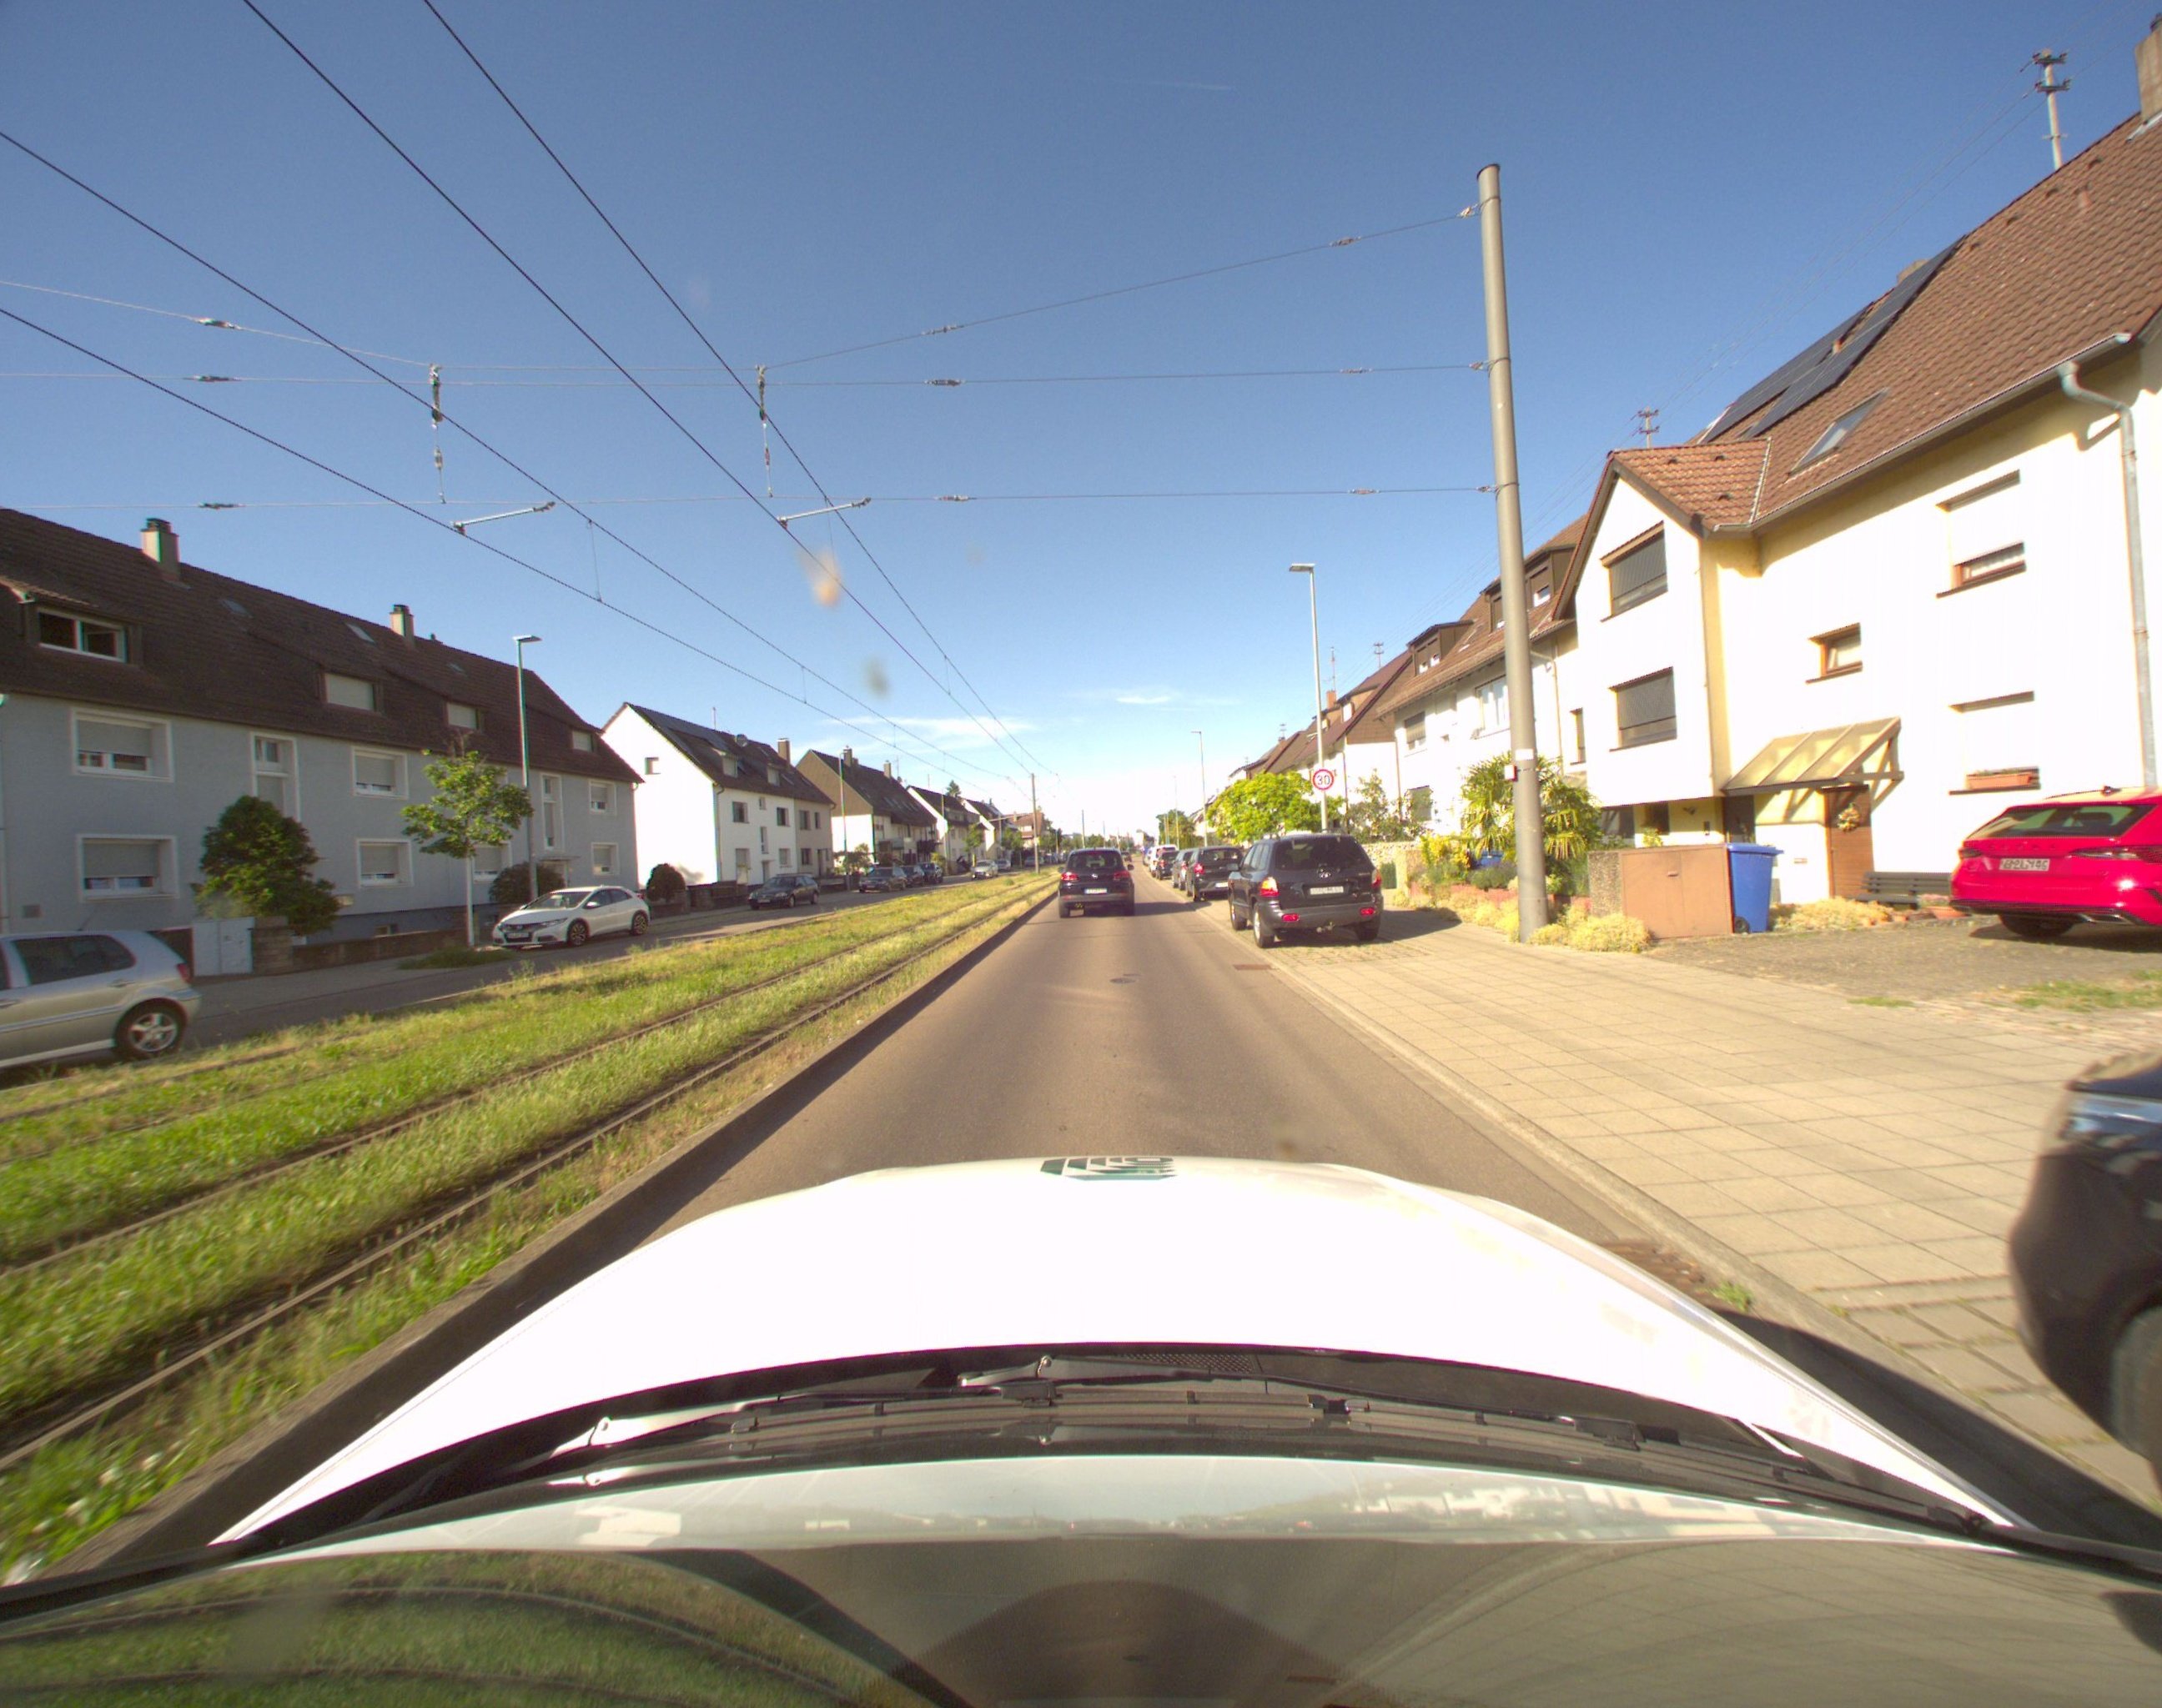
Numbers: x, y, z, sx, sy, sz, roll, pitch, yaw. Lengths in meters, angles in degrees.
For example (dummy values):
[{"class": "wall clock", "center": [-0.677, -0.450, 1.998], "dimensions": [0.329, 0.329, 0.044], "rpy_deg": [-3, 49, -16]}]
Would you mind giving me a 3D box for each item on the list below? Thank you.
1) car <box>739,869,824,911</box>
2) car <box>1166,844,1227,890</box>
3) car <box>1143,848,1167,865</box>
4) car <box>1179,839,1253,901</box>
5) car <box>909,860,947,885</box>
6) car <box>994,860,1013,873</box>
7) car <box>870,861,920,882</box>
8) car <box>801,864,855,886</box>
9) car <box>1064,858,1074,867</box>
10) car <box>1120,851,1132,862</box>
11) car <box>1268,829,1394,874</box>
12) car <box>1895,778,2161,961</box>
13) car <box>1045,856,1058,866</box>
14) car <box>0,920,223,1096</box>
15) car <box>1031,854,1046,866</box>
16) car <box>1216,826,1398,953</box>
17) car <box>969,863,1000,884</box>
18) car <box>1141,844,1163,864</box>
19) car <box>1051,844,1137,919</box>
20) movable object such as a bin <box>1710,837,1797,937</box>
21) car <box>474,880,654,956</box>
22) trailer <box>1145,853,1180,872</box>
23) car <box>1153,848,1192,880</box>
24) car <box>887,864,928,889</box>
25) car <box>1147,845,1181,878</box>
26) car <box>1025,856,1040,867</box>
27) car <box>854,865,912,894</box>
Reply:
[{"class": "car", "center": [-12.703, 1.490, 34.799], "dimensions": [1.783, 1.462, 4.170], "rpy_deg": [-3, 0, 3]}, {"class": "car", "center": [4.206, 0.470, 30.185], "dimensions": [1.610, 1.475, 4.450], "rpy_deg": [-4, 0, 1]}, {"class": "car", "center": [6.786, 0.216, 75.091], "dimensions": [1.780, 1.441, 4.460], "rpy_deg": [-5, 0, 1]}, {"class": "car", "center": [3.920, 0.421, 24.141], "dimensions": [1.659, 1.547, 3.839], "rpy_deg": [-6, 0, 4]}, {"class": "car", "center": [-11.275, 1.343, 60.216], "dimensions": [1.797, 1.597, 4.811], "rpy_deg": [-4, 0, 0]}, {"class": "car", "center": [-8.978, 1.462, 94.353], "dimensions": [1.612, 1.409, 3.721], "rpy_deg": [-4, -2, 3]}, {"class": "car", "center": [-16.953, 1.554, 74.340], "dimensions": [4.154, 1.616, 1.759], "rpy_deg": [-4, 0, -2]}, {"class": "car", "center": [-23.053, 1.909, 74.326], "dimensions": [4.138, 1.654, 1.860], "rpy_deg": [-4, 0, 5]}, {"class": "car", "center": [-2.386, 1.708, 162.473], "dimensions": [1.459, 1.677, 3.290], "rpy_deg": [-4, -1, 3]}, {"class": "car", "center": [6.141, 0.356, 110.867], "dimensions": [1.566, 1.391, 3.617], "rpy_deg": [-4, 0, 3]}, {"class": "car", "center": [9.657, -0.047, 31.911], "dimensions": [2.002, 1.445, 4.844], "rpy_deg": [-4, 0, -23]}, {"class": "car", "center": [10.733, -0.002, 7.679], "dimensions": [4.150, 1.467, 1.901], "rpy_deg": [-4, 1, 1]}, {"class": "car", "center": [-5.035, 1.207, 139.773], "dimensions": [1.653, 1.581, 4.003], "rpy_deg": [-4, -2, 3]}, {"class": "car", "center": [-10.433, 1.498, 7.235], "dimensions": [1.543, 1.412, 3.662], "rpy_deg": [-4, 0, 3]}, {"class": "car", "center": [-6.420, 0.851, 123.599], "dimensions": [1.795, 1.631, 4.004], "rpy_deg": [-4, 0, 3]}, {"class": "car", "center": [3.520, 0.489, 13.601], "dimensions": [1.847, 1.659, 4.475], "rpy_deg": [-4, 0, 2]}, {"class": "car", "center": [-7.622, 1.549, 64.613], "dimensions": [1.701, 1.490, 4.027], "rpy_deg": [-4, -2, 3]}, {"class": "car", "center": [7.083, 0.005, 81.463], "dimensions": [1.985, 1.861, 4.921], "rpy_deg": [-4, 0, 3]}, {"class": "car", "center": [0.228, 0.652, 20.986], "dimensions": [1.808, 1.671, 4.251], "rpy_deg": [-2, 0, -4]}, {"class": "movable object such as a bin", "center": [7.951, 0.387, 9.639], "dimensions": [0.666, 1.114, 0.318], "rpy_deg": [-5, 0, 2]}, {"class": "car", "center": [-13.193, 1.559, 21.133], "dimensions": [1.685, 1.518, 4.218], "rpy_deg": [-4, 0, 3]}, {"class": "trailer", "center": [5.772, 0.597, 58.256], "dimensions": [2.195, 1.093, 4.374], "rpy_deg": [-5, 0, 2]}, {"class": "car", "center": [4.687, 0.511, 41.972], "dimensions": [1.664, 1.453, 4.129], "rpy_deg": [-4, 0, 3]}, {"class": "car", "center": [-11.600, 1.460, 54.699], "dimensions": [1.514, 1.475, 4.205], "rpy_deg": [-3, 0, 3]}, {"class": "car", "center": [4.859, 0.395, 48.154], "dimensions": [1.682, 1.776, 4.660], "rpy_deg": [-4, 0, 3]}, {"class": "car", "center": [-7.001, 1.045, 117.454], "dimensions": [1.652, 1.496, 3.583], "rpy_deg": [-4, 0, 3]}, {"class": "car", "center": [-11.919, 1.494, 49.325], "dimensions": [1.868, 1.523, 4.888], "rpy_deg": [-3, 0, 5]}]
